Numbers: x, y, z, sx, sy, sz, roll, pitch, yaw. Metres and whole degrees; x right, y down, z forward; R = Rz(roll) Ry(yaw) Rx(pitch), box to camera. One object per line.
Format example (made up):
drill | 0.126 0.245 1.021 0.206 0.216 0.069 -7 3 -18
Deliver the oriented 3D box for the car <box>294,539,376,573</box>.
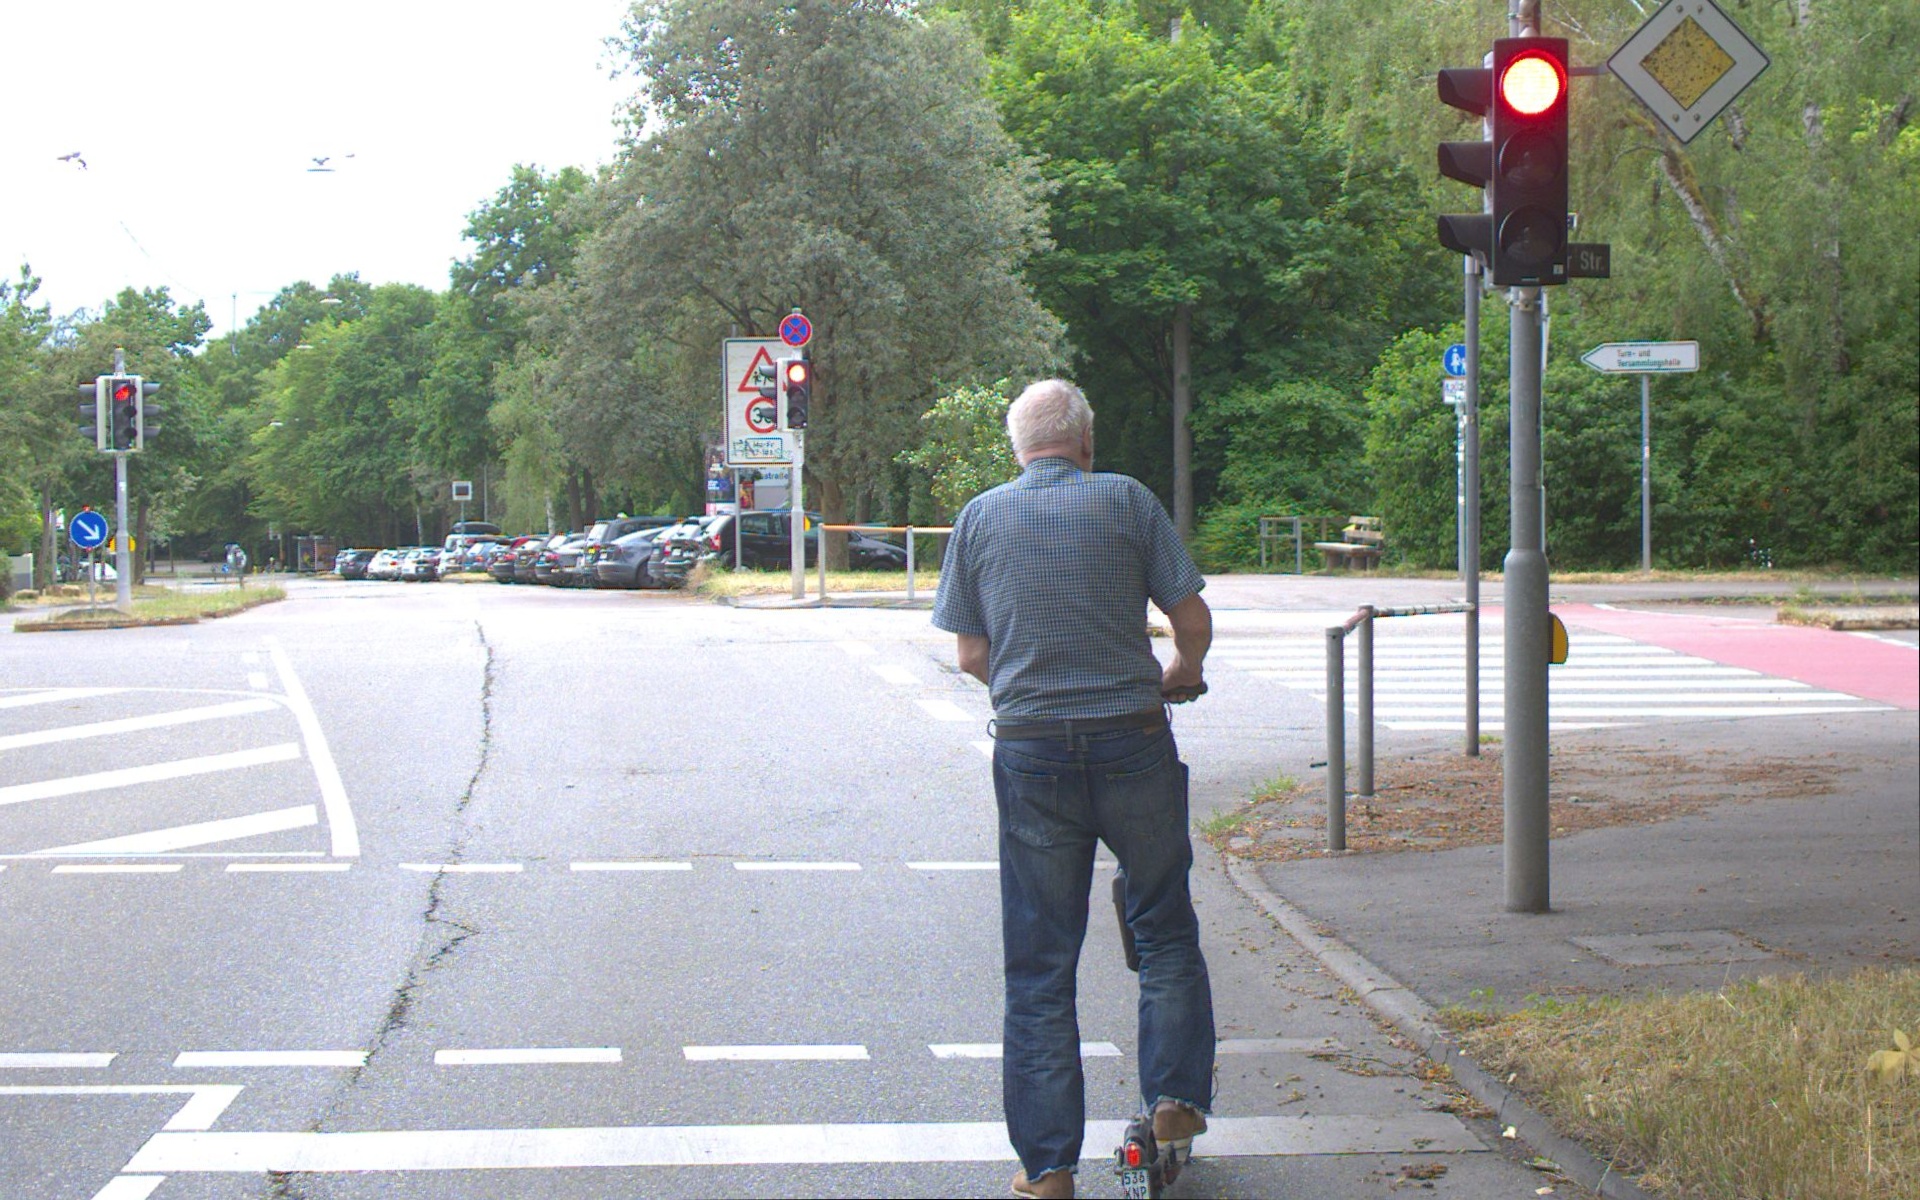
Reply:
car | -32.371 -2.286 177.972 3.840 1.605 1.729 -3 2 -23

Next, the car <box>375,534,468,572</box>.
car | -24.468 -2.133 156.203 3.840 1.605 1.729 -3 2 -23

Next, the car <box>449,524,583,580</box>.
car | -14.069 -1.522 108.926 3.840 1.605 1.729 -3 2 -23

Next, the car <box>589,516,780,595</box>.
car | -6.160 -1.000 76.763 3.841 1.605 1.728 -3 2 -24

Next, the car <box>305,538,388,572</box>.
car | -31.349 -2.313 175.634 3.840 1.605 1.729 -3 2 -23

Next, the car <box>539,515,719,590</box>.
car | -7.824 -1.131 81.338 3.840 1.605 1.729 -3 2 -23

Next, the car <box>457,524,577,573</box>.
car | -15.717 -1.835 121.892 3.840 1.605 1.729 -3 2 -23

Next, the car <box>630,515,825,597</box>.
car | -5.059 -0.969 74.793 3.840 1.605 1.729 -2 2 -21

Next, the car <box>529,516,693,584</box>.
car | -9.052 -1.311 89.063 3.840 1.605 1.729 -3 2 -23

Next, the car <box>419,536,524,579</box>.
car | -19.764 -1.728 139.094 3.840 1.605 1.729 -3 2 -23

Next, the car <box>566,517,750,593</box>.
car | -6.962 -1.052 79.304 3.840 1.605 1.729 -3 2 -23

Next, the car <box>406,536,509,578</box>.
car | -20.870 -1.808 142.768 3.840 1.605 1.729 -3 2 -23

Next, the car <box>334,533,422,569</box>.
car | -28.082 -2.362 165.838 3.840 1.605 1.729 -3 2 -23

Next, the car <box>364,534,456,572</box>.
car | -25.410 -2.193 158.773 3.840 1.605 1.729 -3 2 -23

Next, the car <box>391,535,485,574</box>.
car | -23.393 -2.035 154.071 3.840 1.605 1.729 -3 2 -23

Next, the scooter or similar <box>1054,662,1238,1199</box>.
scooter or similar | 0.415 0.750 7.401 0.282 1.174 1.177 -1 1 8

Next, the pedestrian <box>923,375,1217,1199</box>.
pedestrian | 0.250 0.424 7.571 0.573 1.807 0.420 -1 1 8

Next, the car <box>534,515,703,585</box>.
car | -8.612 -1.266 86.651 3.840 1.605 1.729 -3 2 -23
